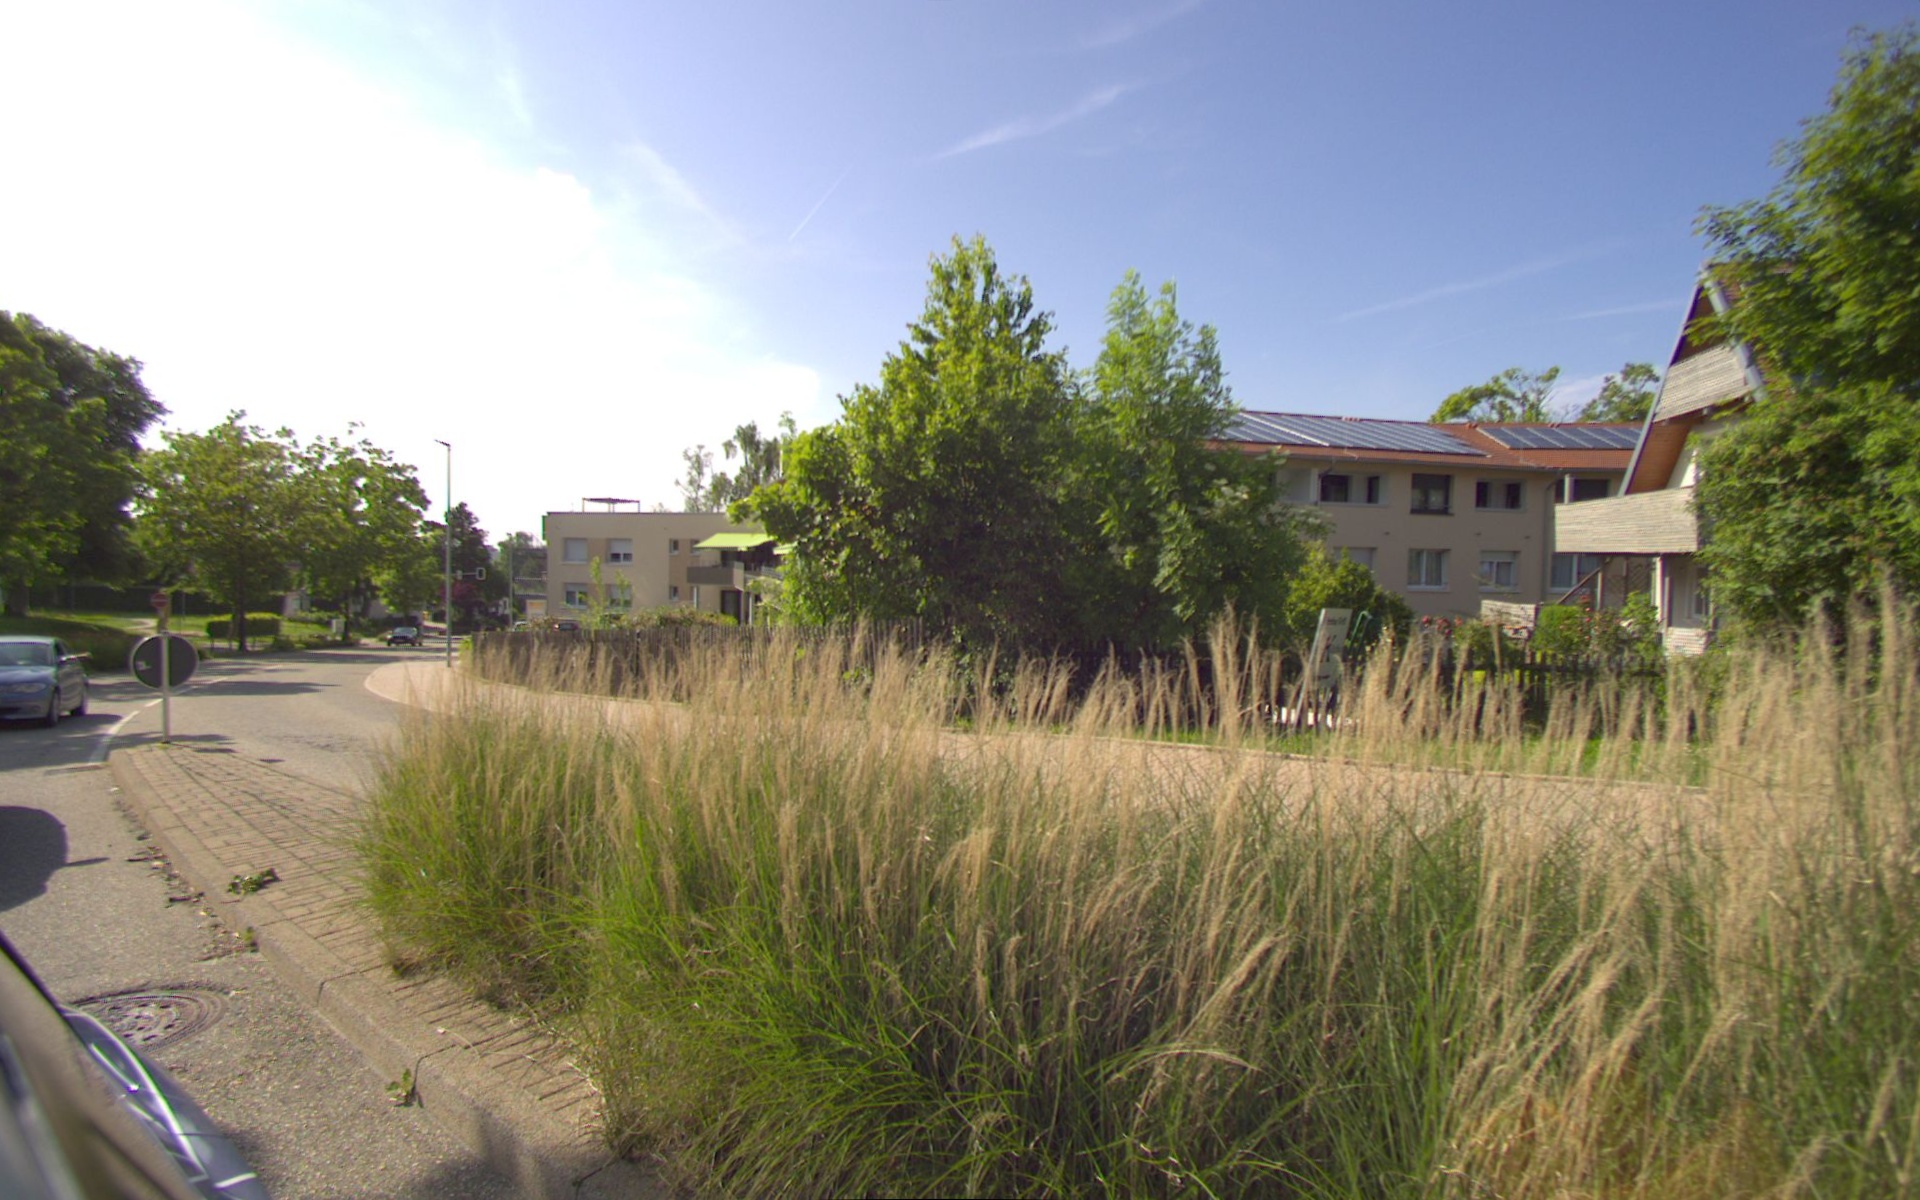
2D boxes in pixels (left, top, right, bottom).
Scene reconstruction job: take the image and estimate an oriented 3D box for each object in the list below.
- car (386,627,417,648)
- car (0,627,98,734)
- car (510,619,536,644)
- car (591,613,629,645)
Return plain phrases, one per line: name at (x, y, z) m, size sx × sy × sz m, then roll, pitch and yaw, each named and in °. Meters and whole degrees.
car at (-37.662, 2.511, 68.255) m, size 1.454 × 1.375 × 2.811 m, roll 2°, pitch -2°, yaw -22°
car at (-15.346, 1.208, 16.175) m, size 1.872 × 1.519 × 4.010 m, roll 3°, pitch -3°, yaw -34°
car at (-27.085, 1.936, 62.683) m, size 1.331 × 1.408 × 3.324 m, roll -1°, pitch 0°, yaw -26°
car at (-20.916, 1.726, 60.395) m, size 1.532 × 1.813 × 3.466 m, roll 3°, pitch -2°, yaw -28°
